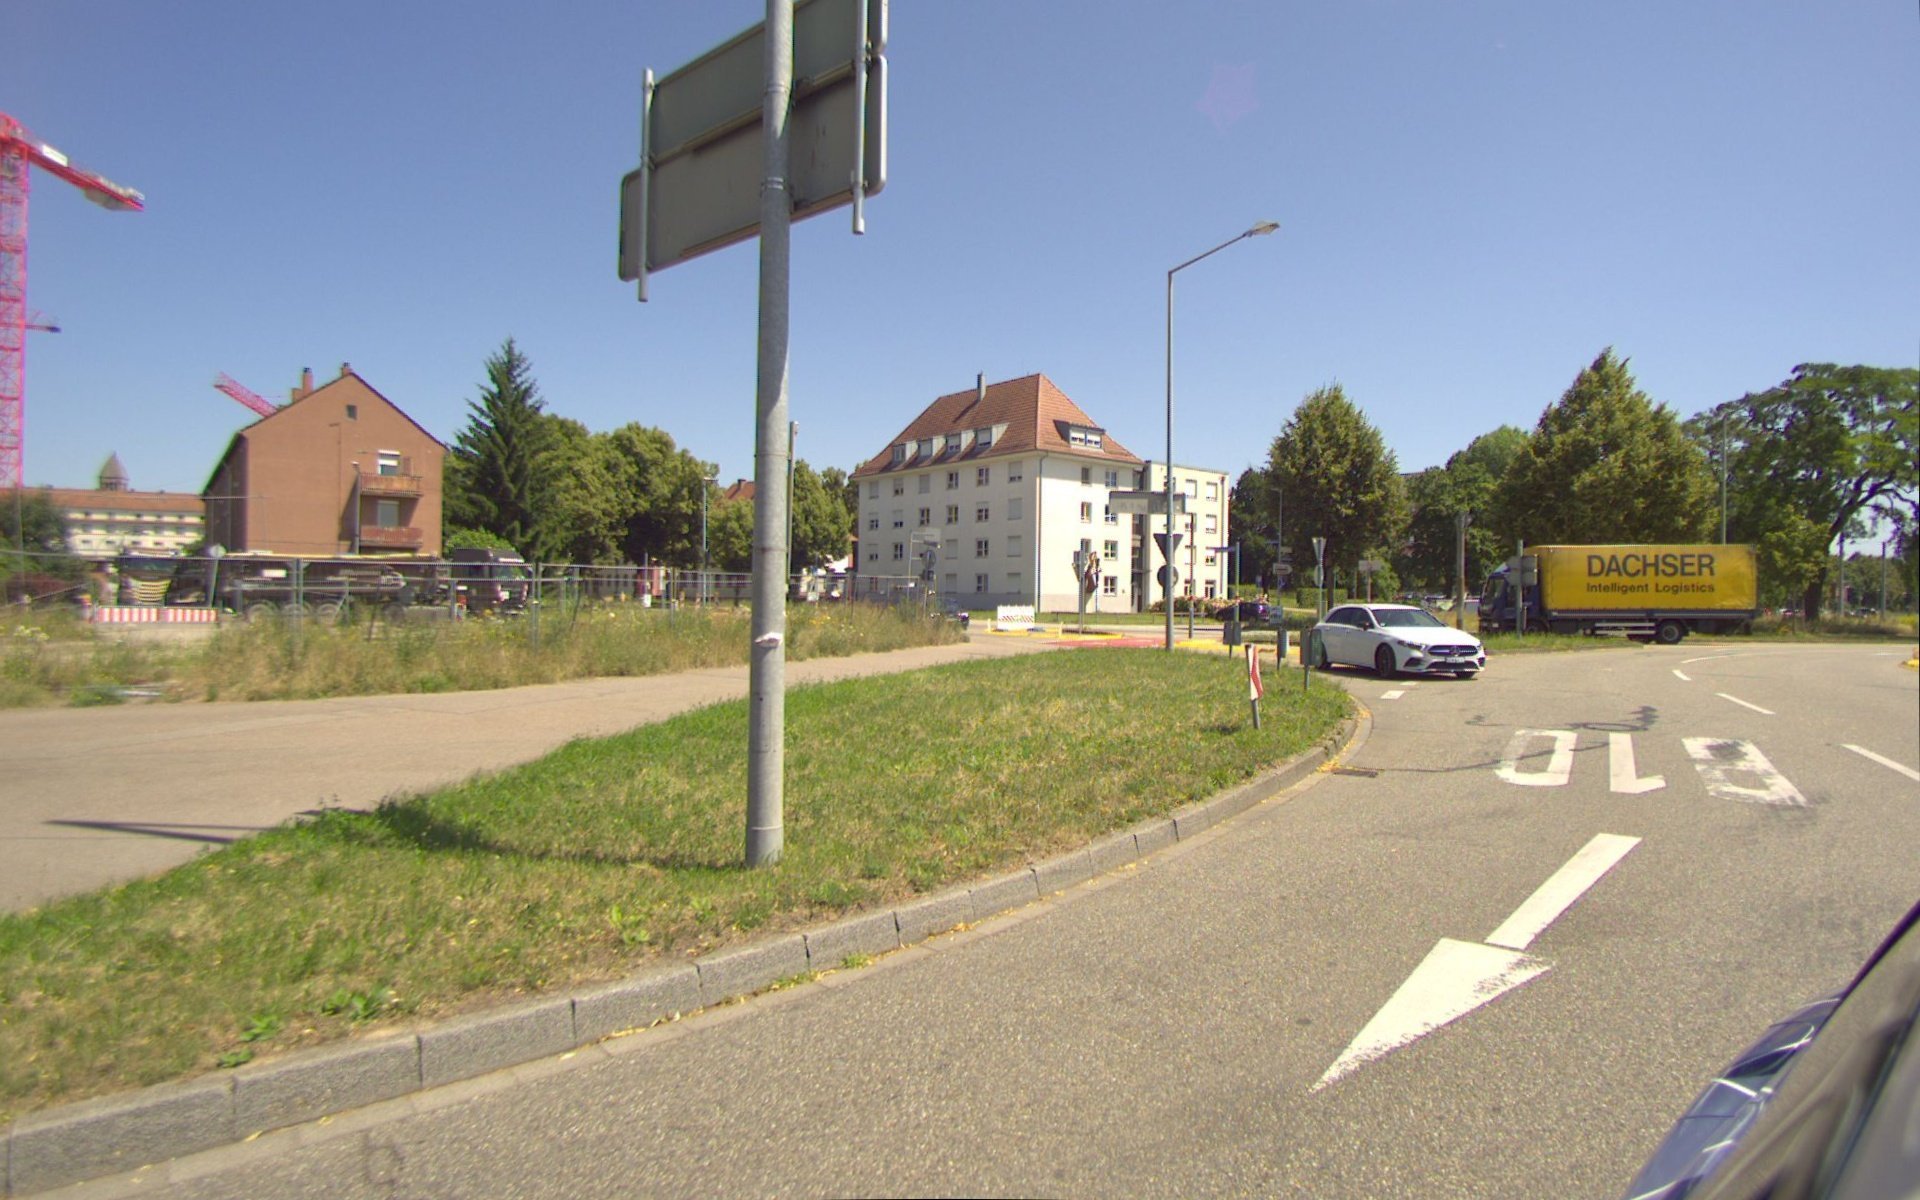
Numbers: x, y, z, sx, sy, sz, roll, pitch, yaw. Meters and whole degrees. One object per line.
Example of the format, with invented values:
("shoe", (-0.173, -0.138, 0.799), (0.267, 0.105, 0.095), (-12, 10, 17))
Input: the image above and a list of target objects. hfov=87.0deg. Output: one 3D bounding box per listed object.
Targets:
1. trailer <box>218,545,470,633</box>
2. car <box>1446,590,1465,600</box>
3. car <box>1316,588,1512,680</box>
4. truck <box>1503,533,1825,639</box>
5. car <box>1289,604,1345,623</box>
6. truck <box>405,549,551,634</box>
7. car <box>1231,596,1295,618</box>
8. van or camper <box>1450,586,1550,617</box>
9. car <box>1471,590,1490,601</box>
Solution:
("trailer", (-26.489, -0.438, 44.042), (8.803, 3.577, 3.171), (0, 0, -14))
("car", (72.488, -0.678, 148.090), (2.976, 1.434, 1.476), (0, 0, -43))
("car", (8.866, 0.592, 20.168), (1.745, 1.564, 3.969), (-1, 1, -7))
("truck", (25.626, -0.549, 37.327), (9.456, 3.705, 2.701), (1, 0, 9))
("car", (24.728, 0.929, 70.233), (1.332, 1.233, 3.512), (1, 0, -37))
("truck", (-21.102, -0.392, 44.490), (4.885, 3.577, 3.155), (1, 0, 10))
("car", (19.873, 0.427, 66.525), (1.629, 1.343, 3.806), (1, 0, -37))
("van or camper", (34.104, 0.059, 64.015), (1.964, 1.881, 5.268), (1, 0, -38))
("car", (75.227, -0.646, 146.274), (2.976, 1.434, 1.476), (0, 0, -43))
